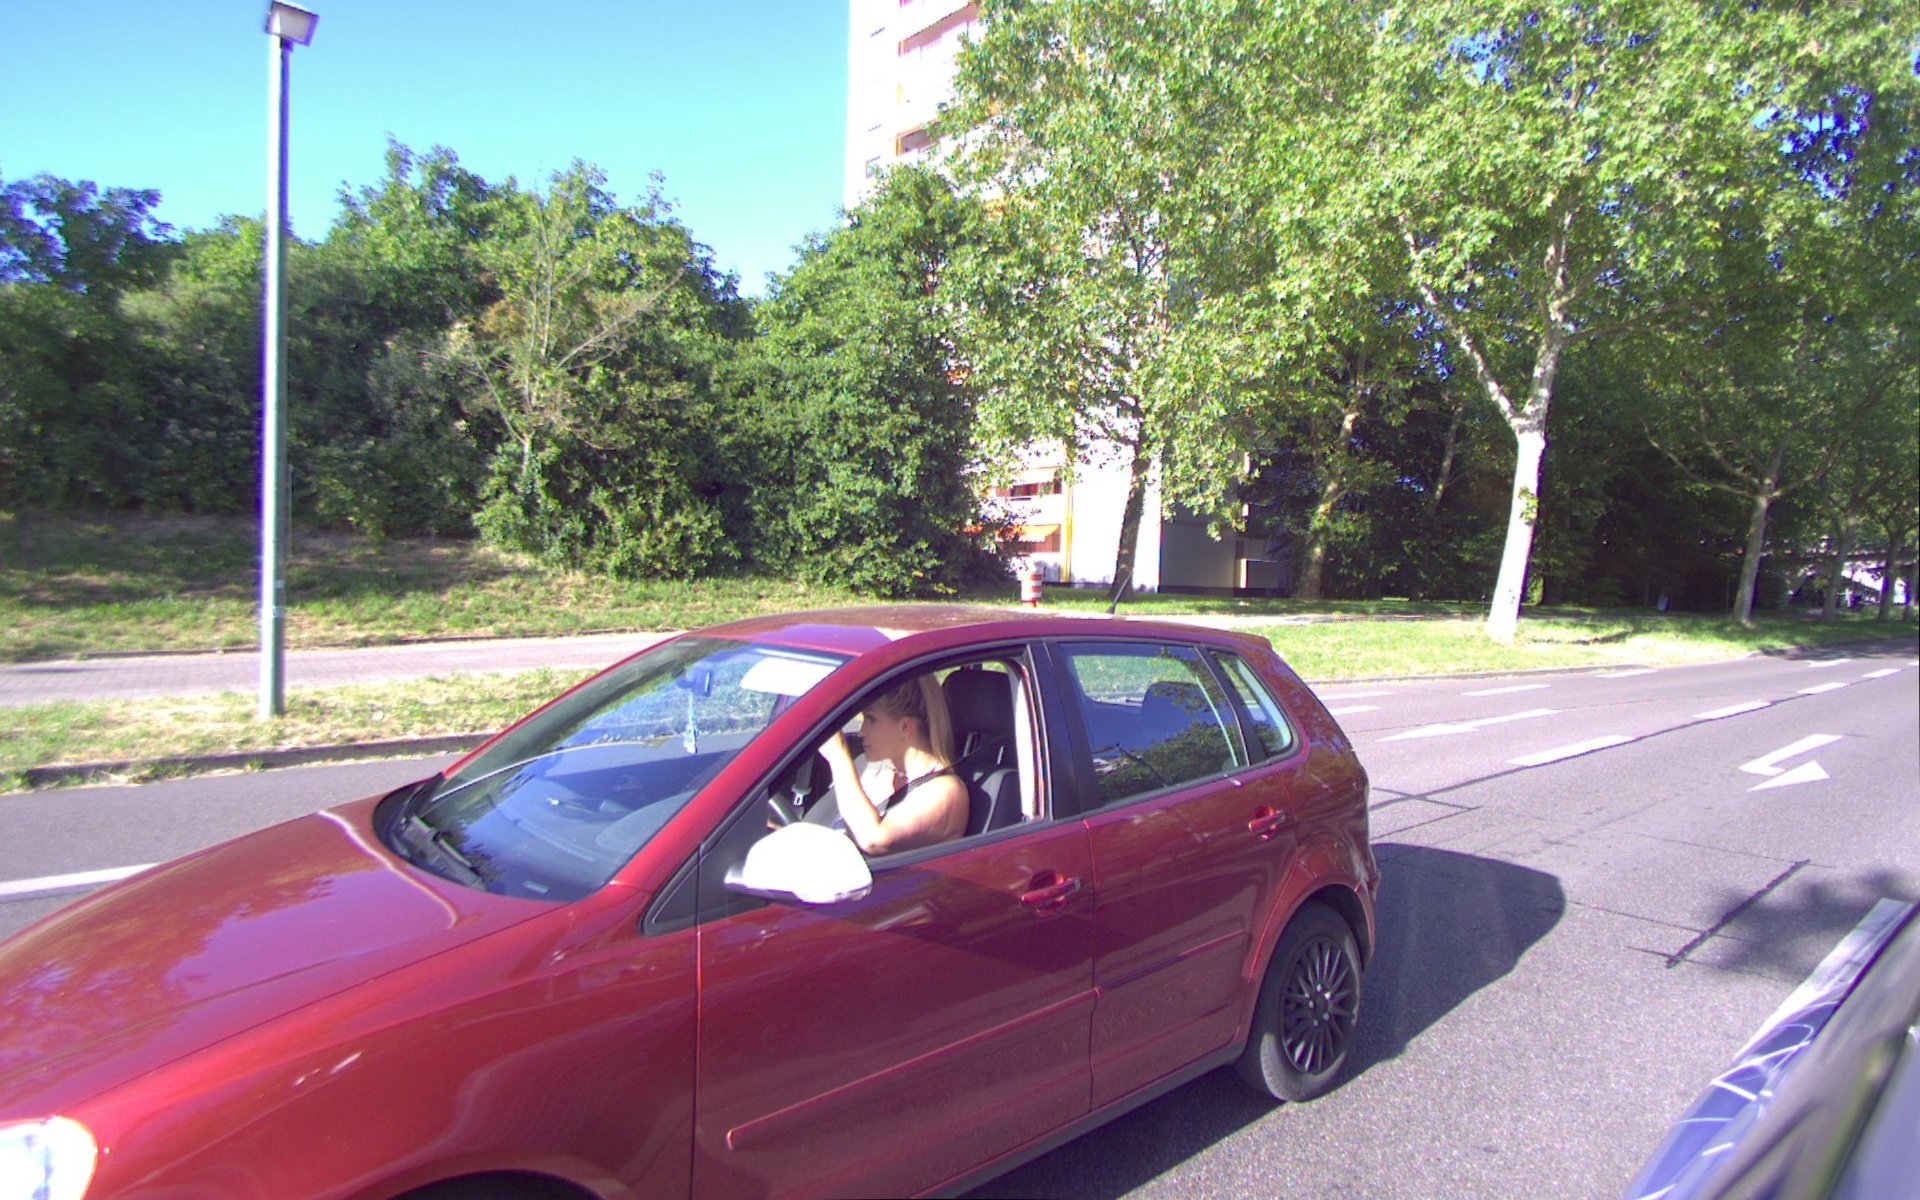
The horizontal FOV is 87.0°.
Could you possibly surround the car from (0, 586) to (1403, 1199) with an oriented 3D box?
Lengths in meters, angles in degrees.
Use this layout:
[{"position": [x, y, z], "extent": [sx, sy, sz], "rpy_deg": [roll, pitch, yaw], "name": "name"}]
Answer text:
[{"position": [-0.447, 0.709, 2.724], "extent": [3.624, 1.479, 1.579], "rpy_deg": [-1, 0, -40], "name": "car"}]
